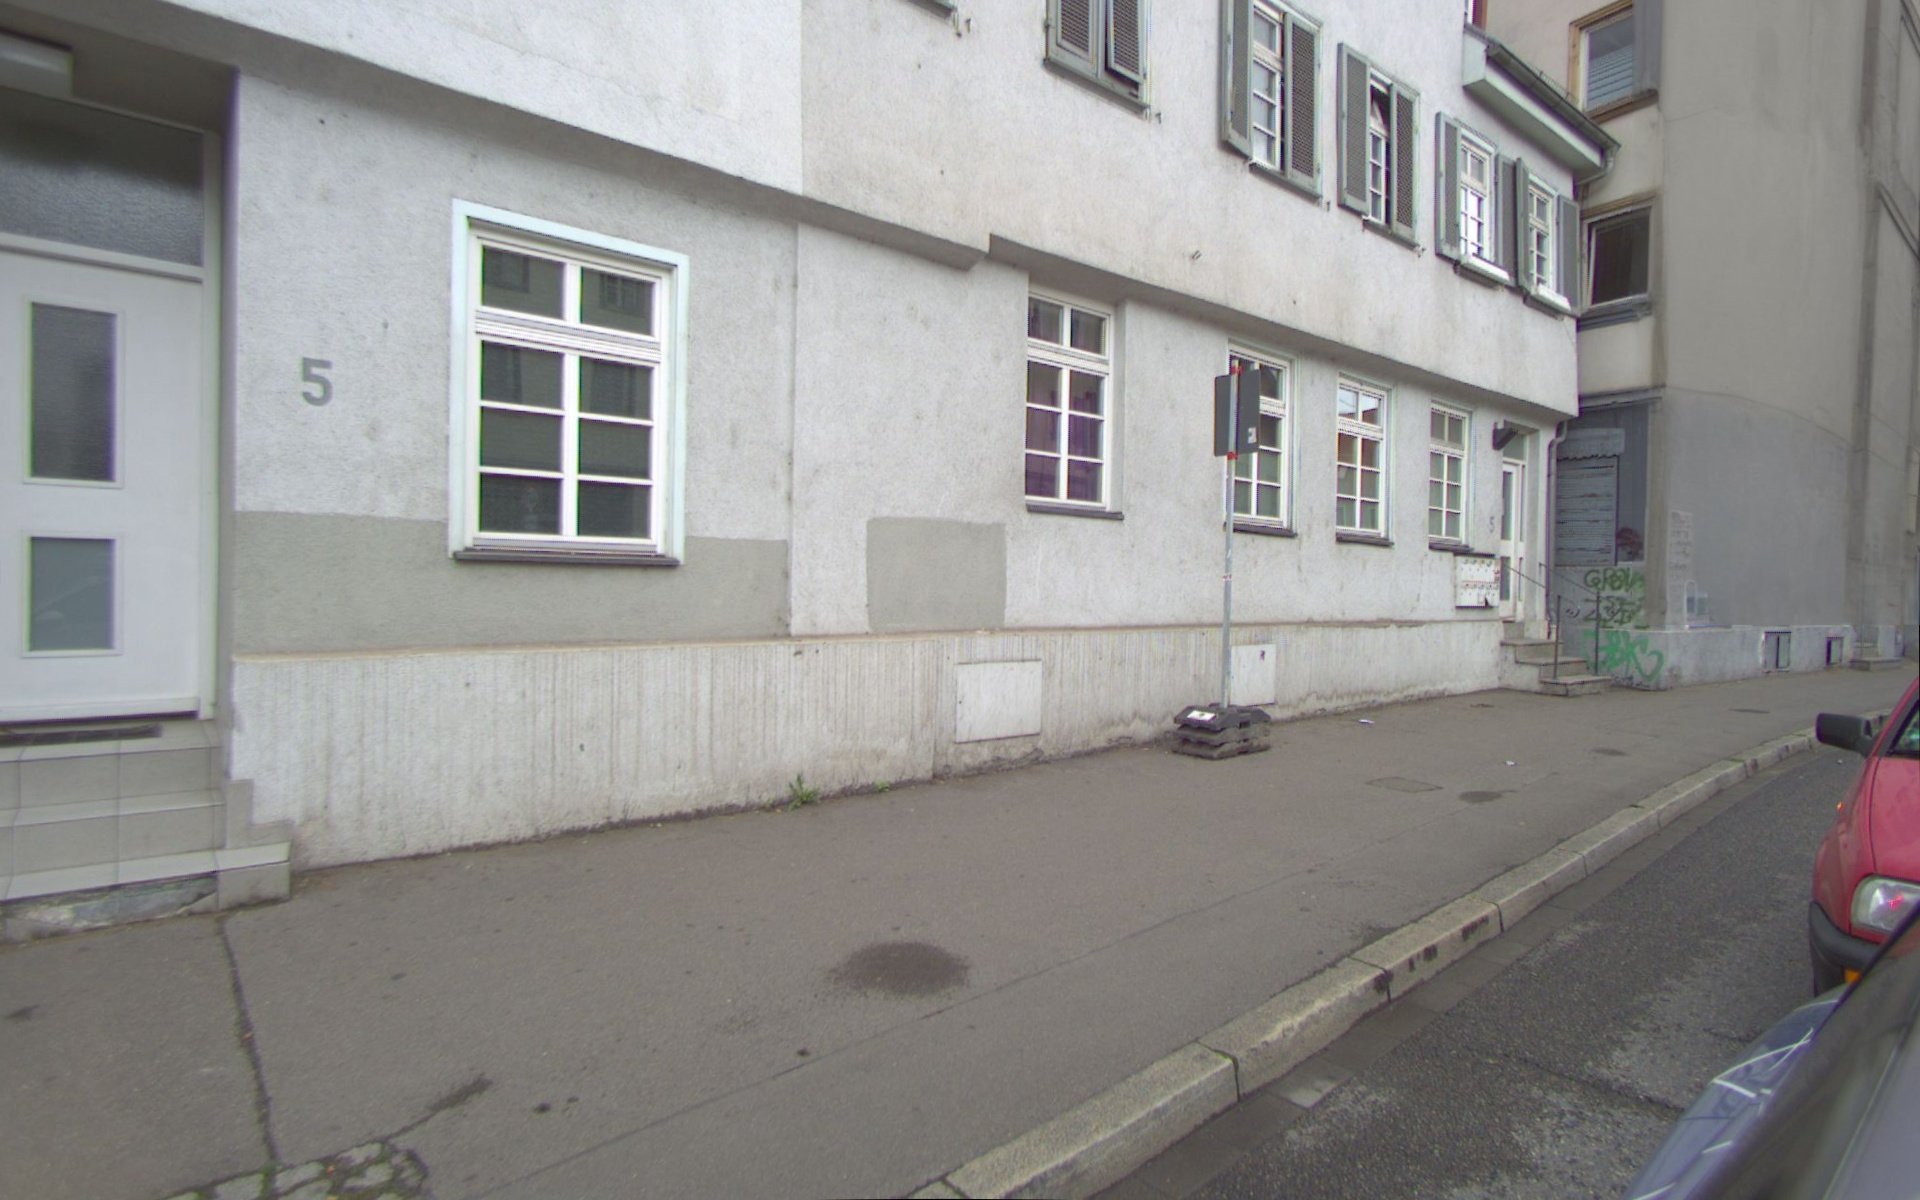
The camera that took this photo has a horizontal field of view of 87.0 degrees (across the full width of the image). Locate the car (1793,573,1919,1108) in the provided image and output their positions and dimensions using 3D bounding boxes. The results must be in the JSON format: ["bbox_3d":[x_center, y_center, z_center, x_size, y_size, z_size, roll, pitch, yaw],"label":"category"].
[{"bbox_3d":[4.487,0.653,3.515,3.929,1.443,1.792,0,1,-40],"label":"car"}]
